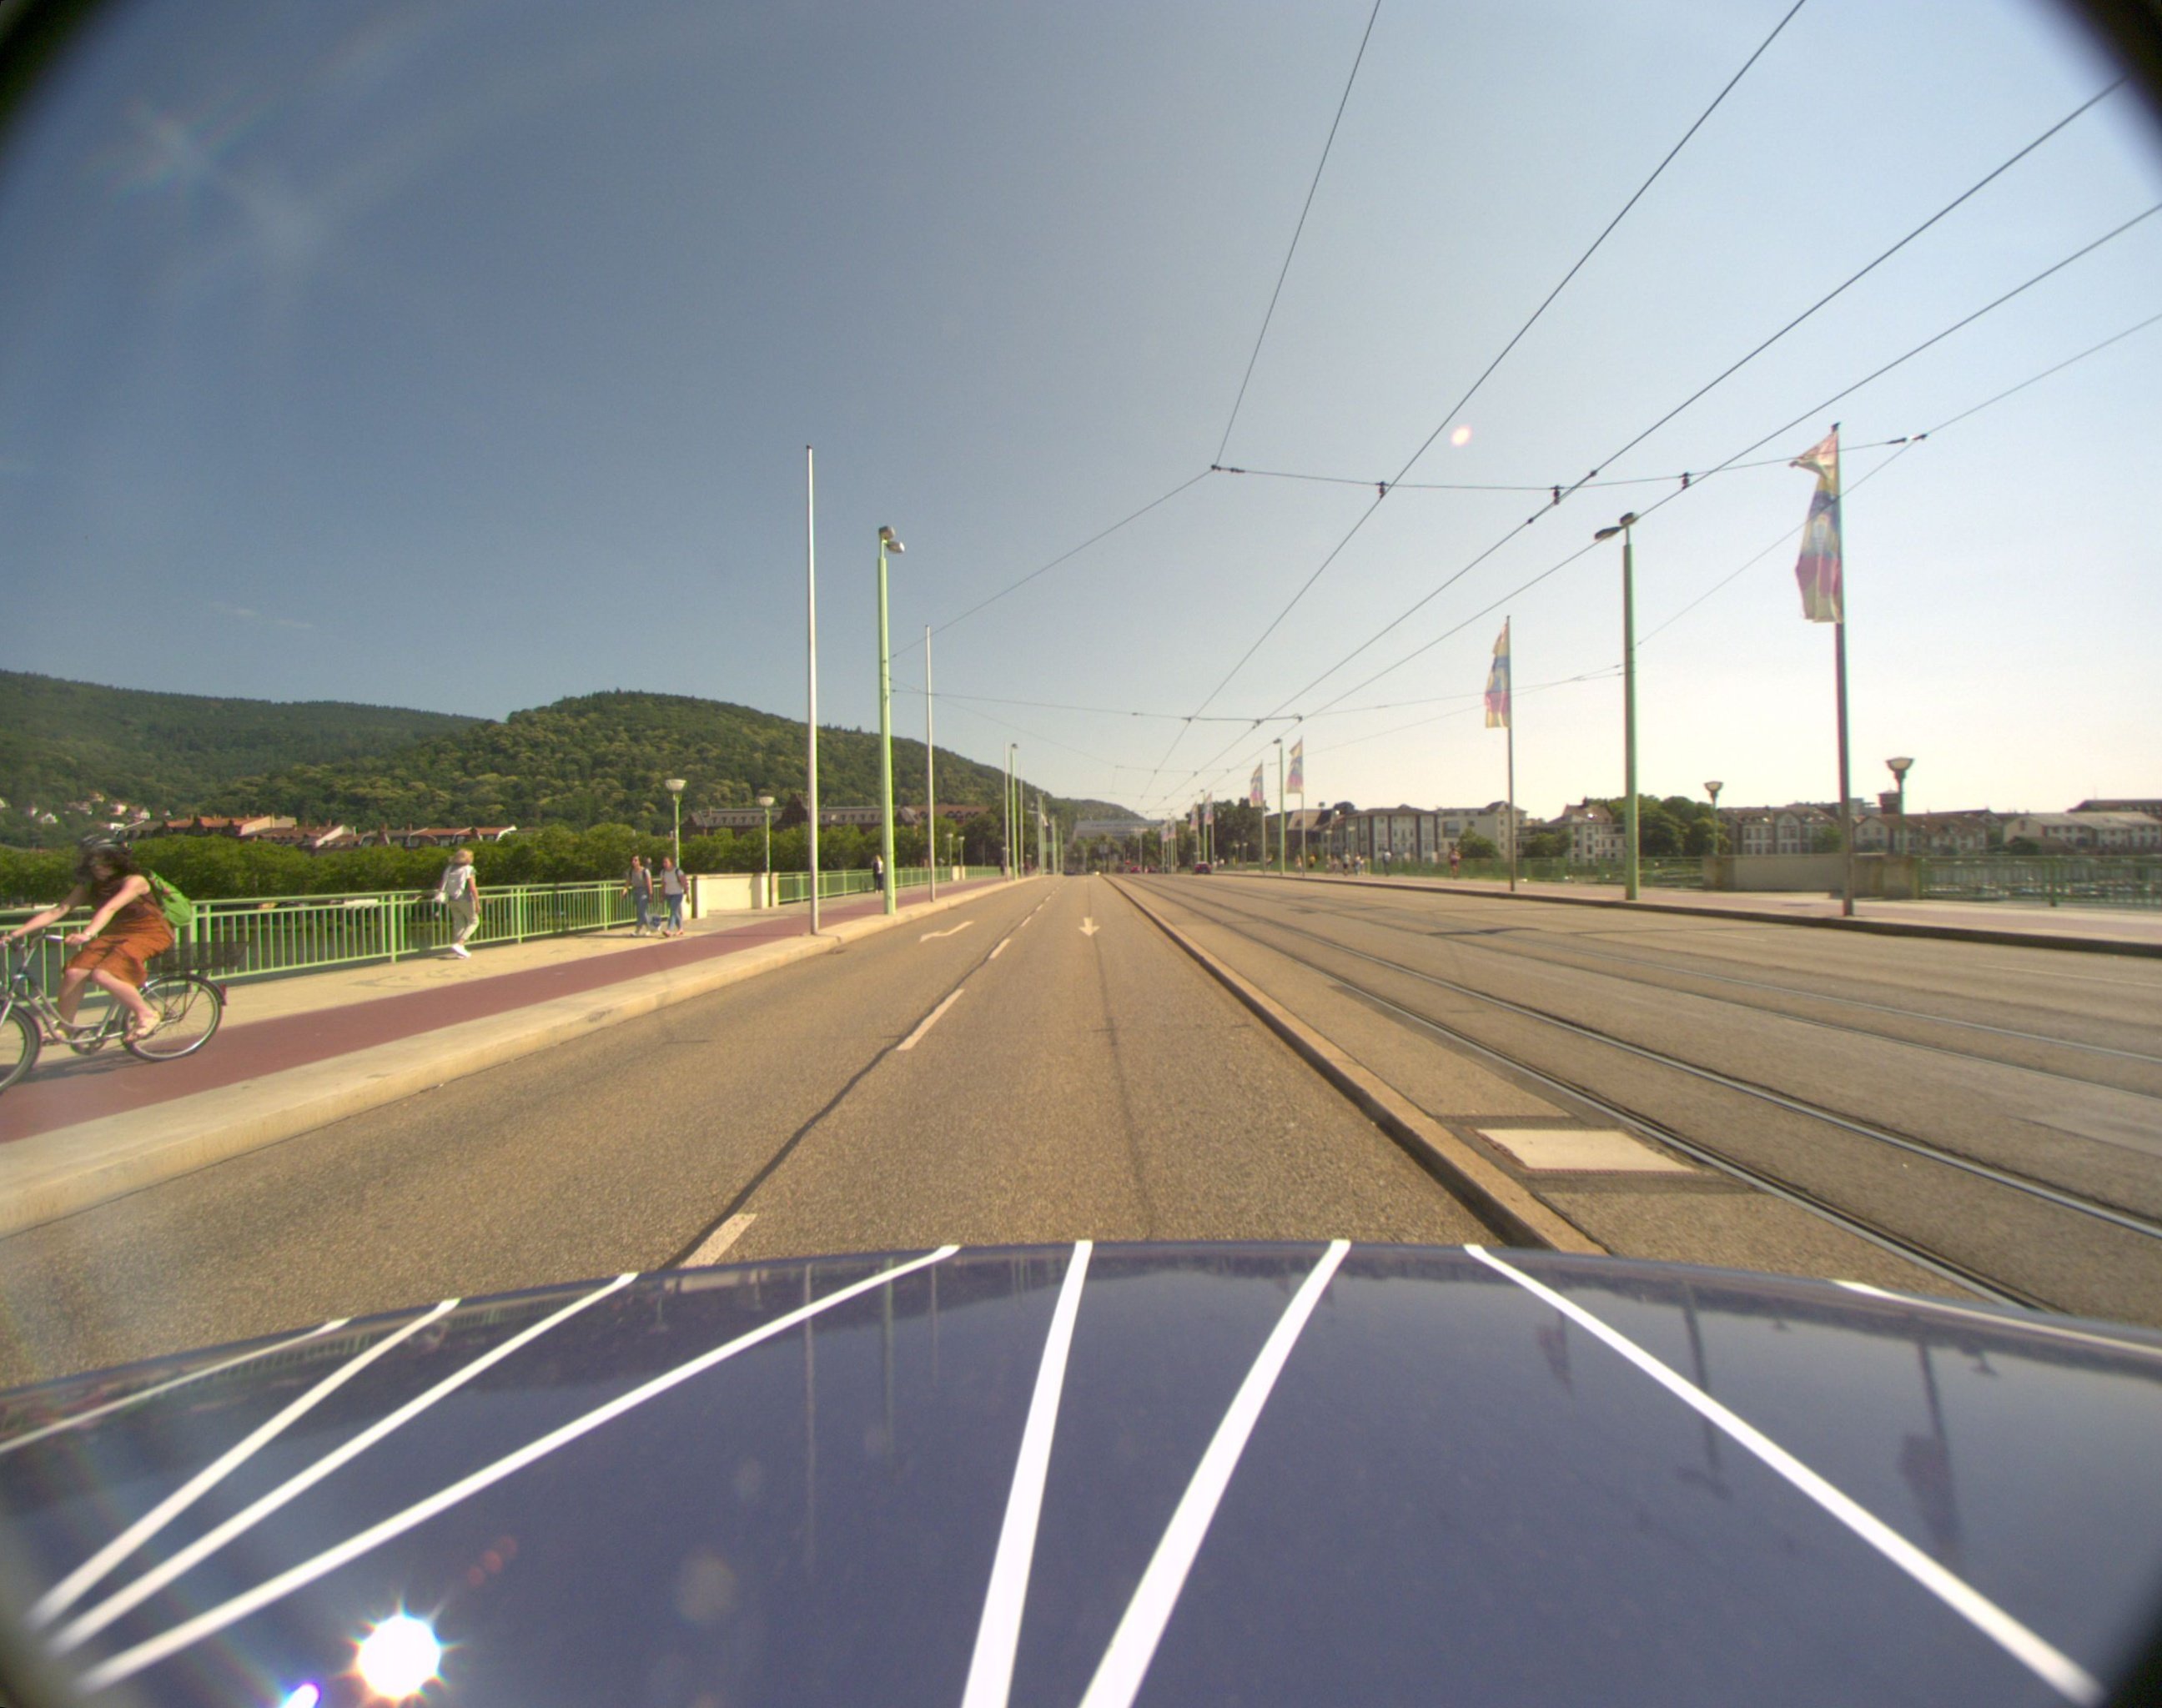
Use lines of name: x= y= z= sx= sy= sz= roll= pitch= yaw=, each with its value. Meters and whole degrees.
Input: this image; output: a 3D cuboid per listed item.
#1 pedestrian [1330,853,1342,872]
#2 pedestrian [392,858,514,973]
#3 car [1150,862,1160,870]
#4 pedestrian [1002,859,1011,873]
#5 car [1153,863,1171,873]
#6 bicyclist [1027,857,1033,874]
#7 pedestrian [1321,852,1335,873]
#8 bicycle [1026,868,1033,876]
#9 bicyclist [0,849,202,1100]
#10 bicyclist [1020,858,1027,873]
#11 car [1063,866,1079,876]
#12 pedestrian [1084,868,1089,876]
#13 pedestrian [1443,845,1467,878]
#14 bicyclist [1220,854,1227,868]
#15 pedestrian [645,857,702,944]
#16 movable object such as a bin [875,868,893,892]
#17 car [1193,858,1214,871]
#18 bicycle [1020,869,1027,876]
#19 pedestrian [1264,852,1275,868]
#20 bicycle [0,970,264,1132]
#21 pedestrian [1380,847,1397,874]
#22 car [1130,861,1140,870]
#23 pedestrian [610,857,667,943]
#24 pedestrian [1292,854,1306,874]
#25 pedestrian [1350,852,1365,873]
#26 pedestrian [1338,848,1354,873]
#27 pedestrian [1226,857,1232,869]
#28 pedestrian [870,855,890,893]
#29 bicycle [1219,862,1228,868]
pedestrian: x=19.411 y=0.617 z=57.817 sx=0.547 sy=1.429 sz=0.789 roll=-3 pitch=0 yaw=0
pedestrian: x=-9.471 y=0.895 z=11.511 sx=0.950 sy=1.653 sz=1.082 roll=0 pitch=0 yaw=0
car: x=14.218 y=2.236 z=145.696 sx=1.672 sy=1.428 sz=4.000 roll=-1 pitch=1 yaw=1
pedestrian: x=-8.549 y=1.351 z=87.258 sx=0.950 sy=1.653 sz=1.082 roll=1 pitch=0 yaw=0
car: x=20.095 y=3.418 z=188.446 sx=3.996 sy=2.002 sz=2.000 roll=-5 pitch=0 yaw=2
bicyclist: x=-5.313 y=1.234 z=78.933 sx=0.587 sy=1.759 sz=0.672 roll=0 pitch=0 yaw=1
pedestrian: x=18.723 y=0.628 z=57.573 sx=0.627 sy=1.590 sz=1.022 roll=-3 pitch=0 yaw=0
bicycle: x=-5.318 y=1.850 z=78.990 sx=0.595 sy=0.761 sz=1.866 roll=0 pitch=0 yaw=1
bicyclist: x=-6.869 y=0.787 z=5.312 sx=0.606 sy=1.641 sz=0.702 roll=0 pitch=1 yaw=1
bicyclist: x=-6.672 y=1.350 z=87.956 sx=0.731 sy=1.655 sz=0.844 roll=-2 pitch=0 yaw=1
car: x=-2.539 y=4.339 z=192.718 sx=3.997 sy=2.002 sz=2.000 roll=-6 pitch=0 yaw=-2
pedestrian: x=1.464 y=4.826 z=205.322 sx=1.200 sy=2.002 sz=1.036 roll=-2 pitch=2 yaw=20
pedestrian: x=19.382 y=0.390 z=39.372 sx=0.686 sy=1.680 sz=1.022 roll=-3 pitch=0 yaw=0
bicyclist: x=17.751 y=0.879 z=94.541 sx=0.666 sy=1.641 sz=0.622 roll=-1 pitch=0 yaw=1
pedestrian: x=-8.001 y=0.895 z=14.947 sx=0.664 sy=1.649 sz=0.825 roll=0 pitch=1 yaw=0
movable object such as a bin: x=-9.157 y=1.221 z=35.402 sx=0.583 sy=1.084 sz=0.933 roll=0 pitch=0 yaw=0
car: x=13.628 y=1.156 z=84.968 sx=1.721 sy=1.446 sz=3.901 roll=0 pitch=0 yaw=0
bicycle: x=-6.675 y=2.103 z=88.108 sx=0.595 sy=0.761 sz=1.866 roll=0 pitch=0 yaw=1
pedestrian: x=19.645 y=0.612 z=79.357 sx=0.787 sy=1.690 sz=1.022 roll=-3 pitch=0 yaw=0
bicycle: x=-6.874 y=1.311 z=5.165 sx=0.595 sy=0.761 sz=1.866 roll=0 pitch=0 yaw=1
pedestrian: x=19.807 y=0.432 z=48.950 sx=0.592 sy=1.690 sz=1.022 roll=-3 pitch=0 yaw=0
car: x=10.929 y=2.387 z=154.693 sx=1.714 sy=1.686 sz=4.000 roll=-5 pitch=0 yaw=1
pedestrian: x=-8.702 y=0.893 z=14.962 sx=0.669 sy=1.649 sz=0.746 roll=0 pitch=1 yaw=0
pedestrian: x=18.527 y=0.852 z=64.560 sx=0.787 sy=1.690 sz=1.022 roll=-3 pitch=0 yaw=0
pedestrian: x=18.864 y=0.567 z=51.814 sx=0.592 sy=1.406 sz=1.022 roll=-3 pitch=0 yaw=0
pedestrian: x=18.207 y=0.445 z=52.178 sx=0.671 sy=1.690 sz=1.022 roll=-3 pitch=0 yaw=0
pedestrian: x=20.991 y=1.303 z=107.624 sx=0.592 sy=1.689 sz=0.905 roll=-6 pitch=0 yaw=0
pedestrian: x=-9.156 y=0.885 z=34.571 sx=0.664 sy=1.696 sz=0.859 roll=0 pitch=1 yaw=0
bicycle: x=17.762 y=1.418 z=94.589 sx=0.667 sy=0.712 sz=2.173 roll=-1 pitch=0 yaw=1
